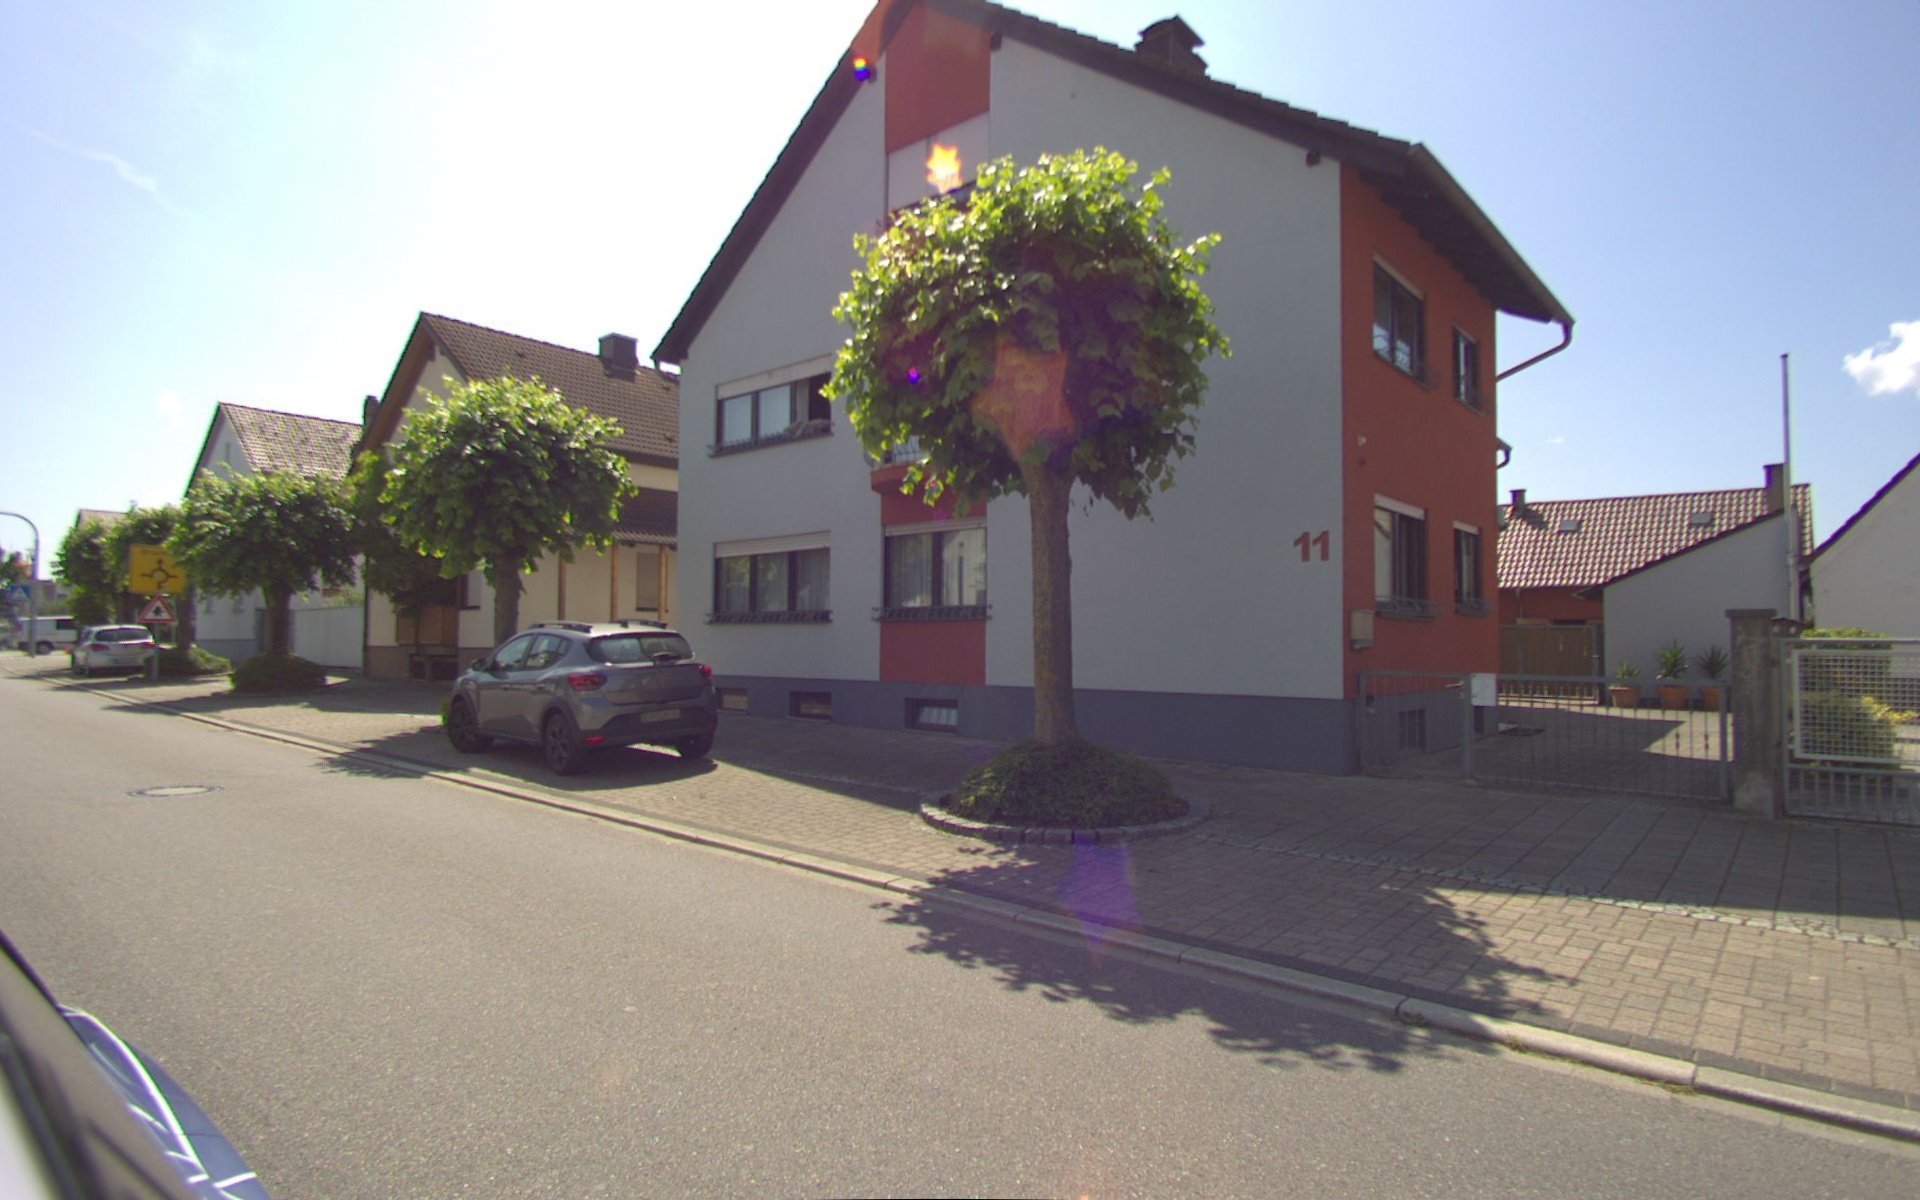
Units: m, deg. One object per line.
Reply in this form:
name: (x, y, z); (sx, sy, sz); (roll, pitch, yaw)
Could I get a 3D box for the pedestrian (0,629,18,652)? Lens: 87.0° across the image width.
pedestrian: (-58.024, 2.475, 61.738); (0.607, 1.369, 0.776); (-2, -2, 41)

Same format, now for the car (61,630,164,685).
car: (-25.625, 1.695, 30.567); (4.131, 1.494, 1.805); (-1, -1, 42)

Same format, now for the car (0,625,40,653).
car: (-63.452, 2.580, 66.421); (1.941, 1.732, 4.202); (-1, -1, 35)

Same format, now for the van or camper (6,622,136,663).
van or camper: (-44.740, 2.116, 51.019); (1.998, 1.877, 4.692); (-2, -2, 40)

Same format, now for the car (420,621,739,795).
car: (-4.533, 1.082, 11.739); (4.135, 1.625, 1.833); (-2, -1, 43)
